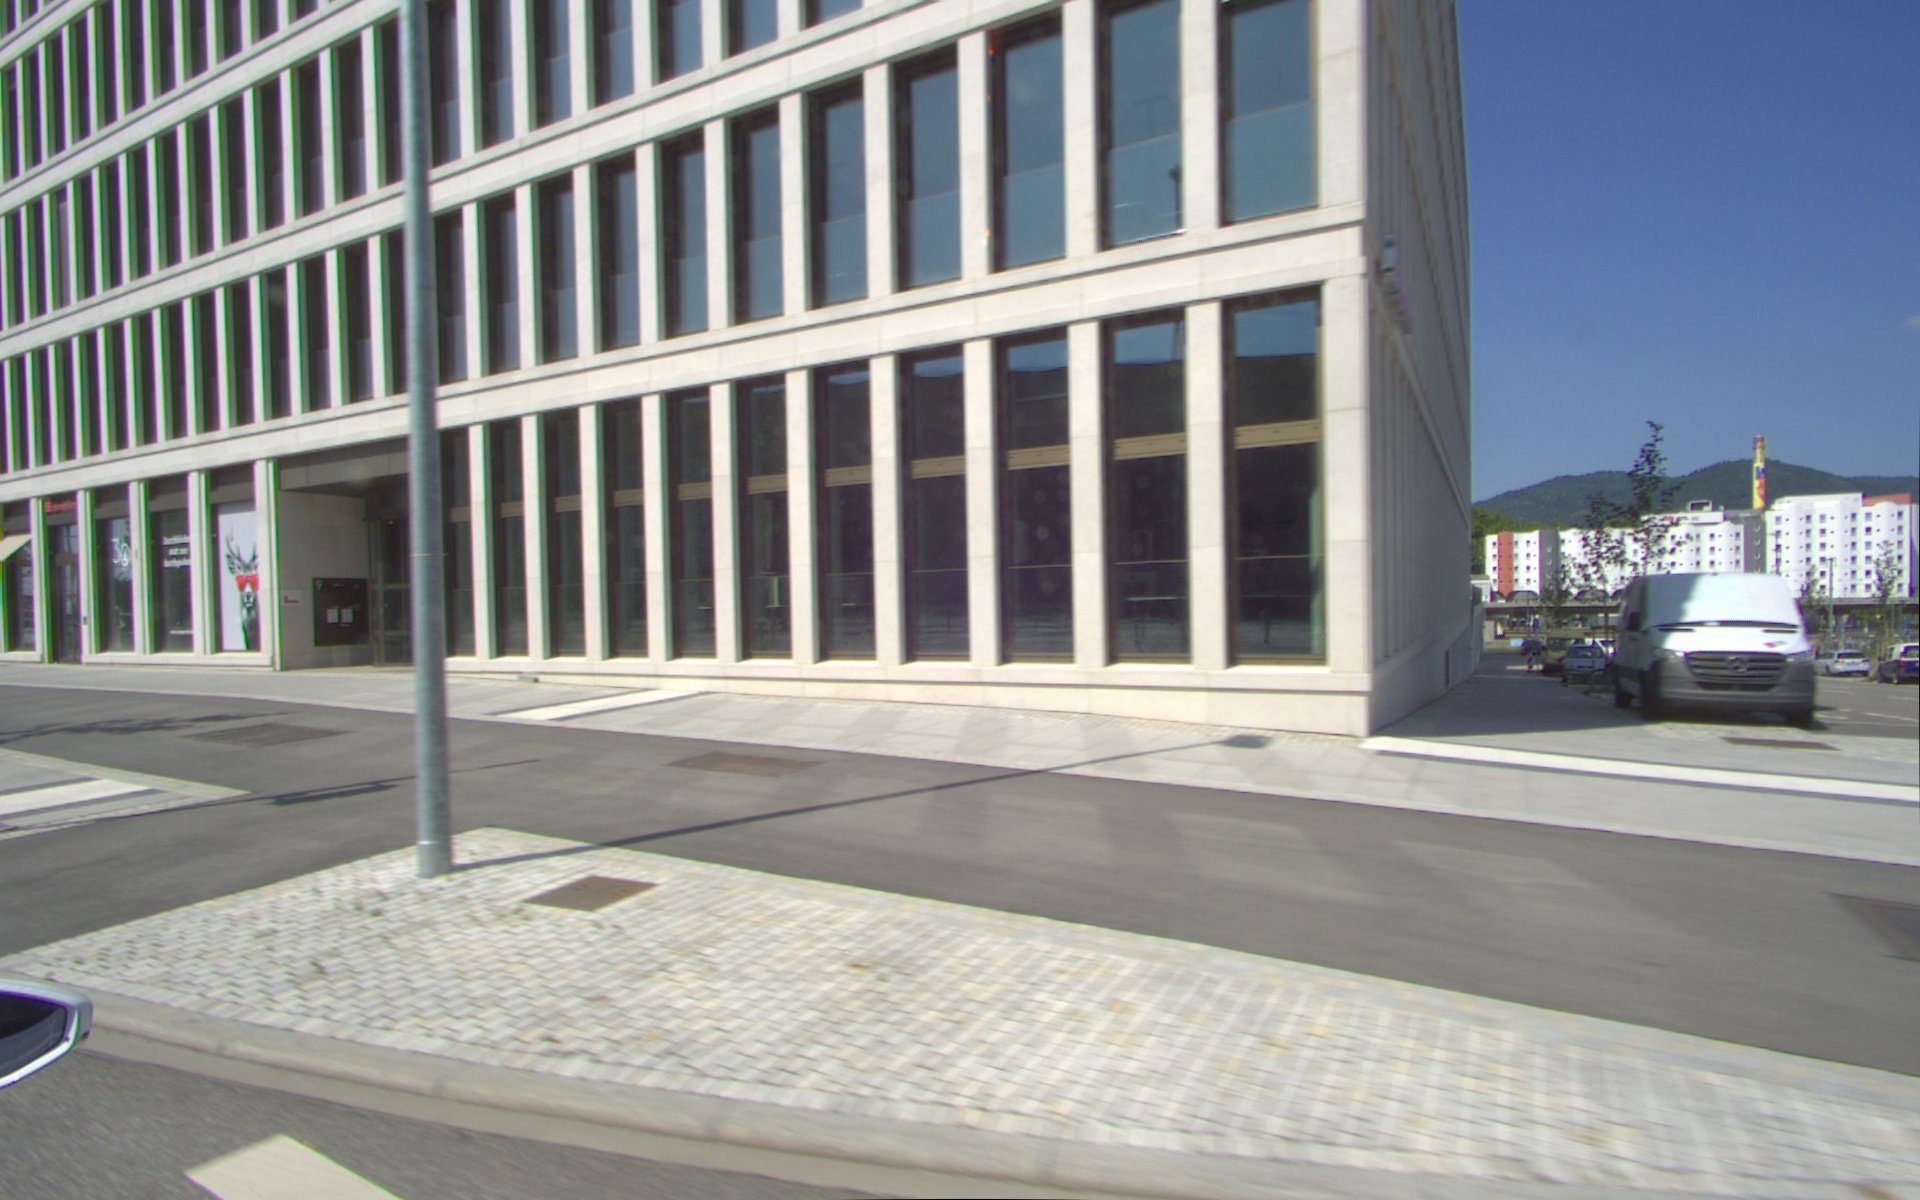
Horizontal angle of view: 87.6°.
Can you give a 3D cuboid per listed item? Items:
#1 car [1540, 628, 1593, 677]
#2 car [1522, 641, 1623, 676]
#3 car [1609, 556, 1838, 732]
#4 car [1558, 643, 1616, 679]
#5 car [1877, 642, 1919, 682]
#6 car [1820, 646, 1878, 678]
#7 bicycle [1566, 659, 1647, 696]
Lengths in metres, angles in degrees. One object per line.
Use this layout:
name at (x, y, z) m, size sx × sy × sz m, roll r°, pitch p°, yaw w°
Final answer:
car at (33.334, 2.952, 55.151) m, size 2.045 × 2.504 × 6.133 m, roll -1°, pitch -5°, yaw 27°
car at (46.133, 4.442, 75.573) m, size 2.210 × 2.504 × 6.327 m, roll 2°, pitch -4°, yaw -25°
car at (12.005, 0.717, 16.206) m, size 2.114 × 2.299 × 5.833 m, roll -1°, pitch -3°, yaw 29°
car at (26.324, 2.586, 42.119) m, size 1.743 × 1.416 × 3.660 m, roll -1°, pitch -5°, yaw 27°
car at (43.349, 2.842, 45.488) m, size 1.632 × 1.641 × 3.683 m, roll -1°, pitch -6°, yaw 30°
car at (49.237, 3.447, 55.494) m, size 1.632 × 1.642 × 3.681 m, roll -1°, pitch -4°, yaw 30°
bicycle at (18.919, 2.261, 29.324) m, size 1.959 × 1.005 × 0.706 m, roll -1°, pitch -1°, yaw 33°
